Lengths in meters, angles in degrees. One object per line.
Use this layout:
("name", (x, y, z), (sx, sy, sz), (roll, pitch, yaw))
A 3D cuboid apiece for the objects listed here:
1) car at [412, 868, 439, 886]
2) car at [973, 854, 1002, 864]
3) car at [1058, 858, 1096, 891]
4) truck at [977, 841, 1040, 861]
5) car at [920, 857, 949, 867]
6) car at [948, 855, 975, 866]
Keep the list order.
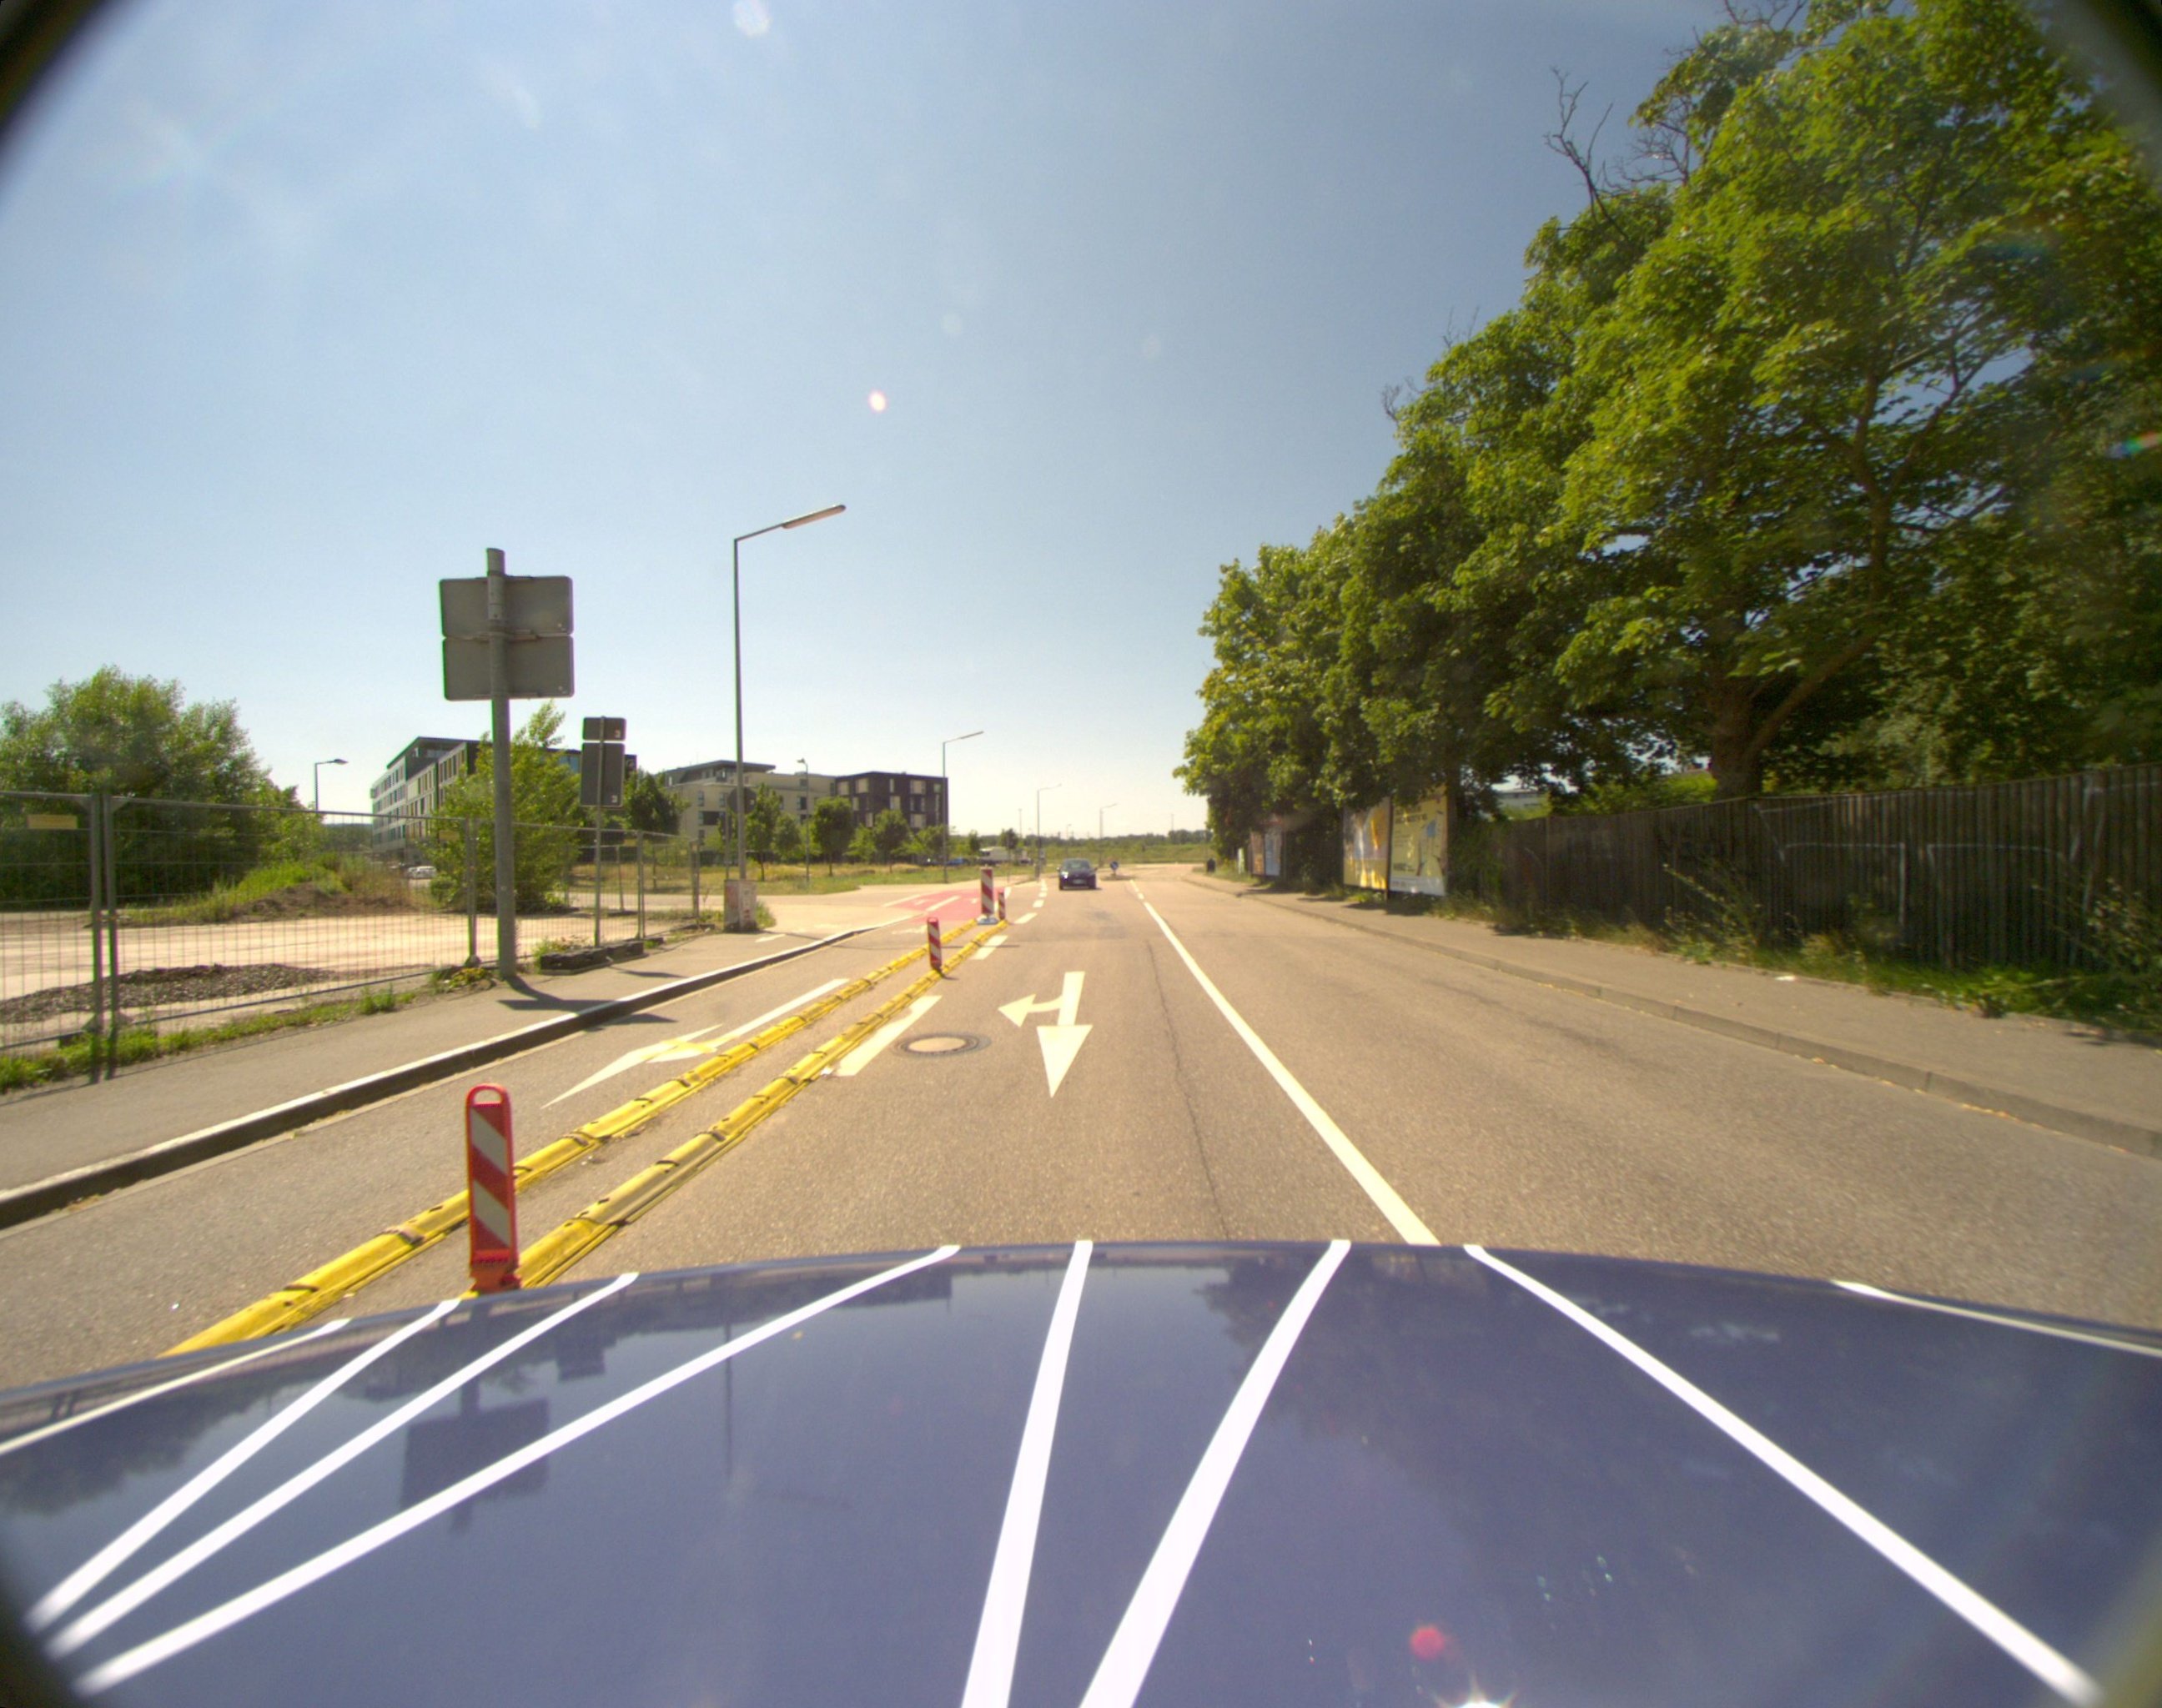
("car", (-74.970, 2.673, 86.904), (1.964, 1.917, 3.483), (-2, 0, -45))
("car", (-14.704, 0.729, 119.531), (4.495, 1.553, 2.036), (0, 0, 42))
("car", (-0.142, 0.934, 35.865), (1.654, 1.458, 4.160), (0, 0, 2))
("truck", (-13.022, -0.572, 137.565), (3.009, 3.442, 12.164), (2, 2, 45))
("car", (-21.732, 1.139, 112.898), (4.114, 1.436, 1.966), (0, 0, 38))
("car", (-18.279, 1.037, 116.512), (4.059, 1.642, 1.959), (0, 0, 43))
